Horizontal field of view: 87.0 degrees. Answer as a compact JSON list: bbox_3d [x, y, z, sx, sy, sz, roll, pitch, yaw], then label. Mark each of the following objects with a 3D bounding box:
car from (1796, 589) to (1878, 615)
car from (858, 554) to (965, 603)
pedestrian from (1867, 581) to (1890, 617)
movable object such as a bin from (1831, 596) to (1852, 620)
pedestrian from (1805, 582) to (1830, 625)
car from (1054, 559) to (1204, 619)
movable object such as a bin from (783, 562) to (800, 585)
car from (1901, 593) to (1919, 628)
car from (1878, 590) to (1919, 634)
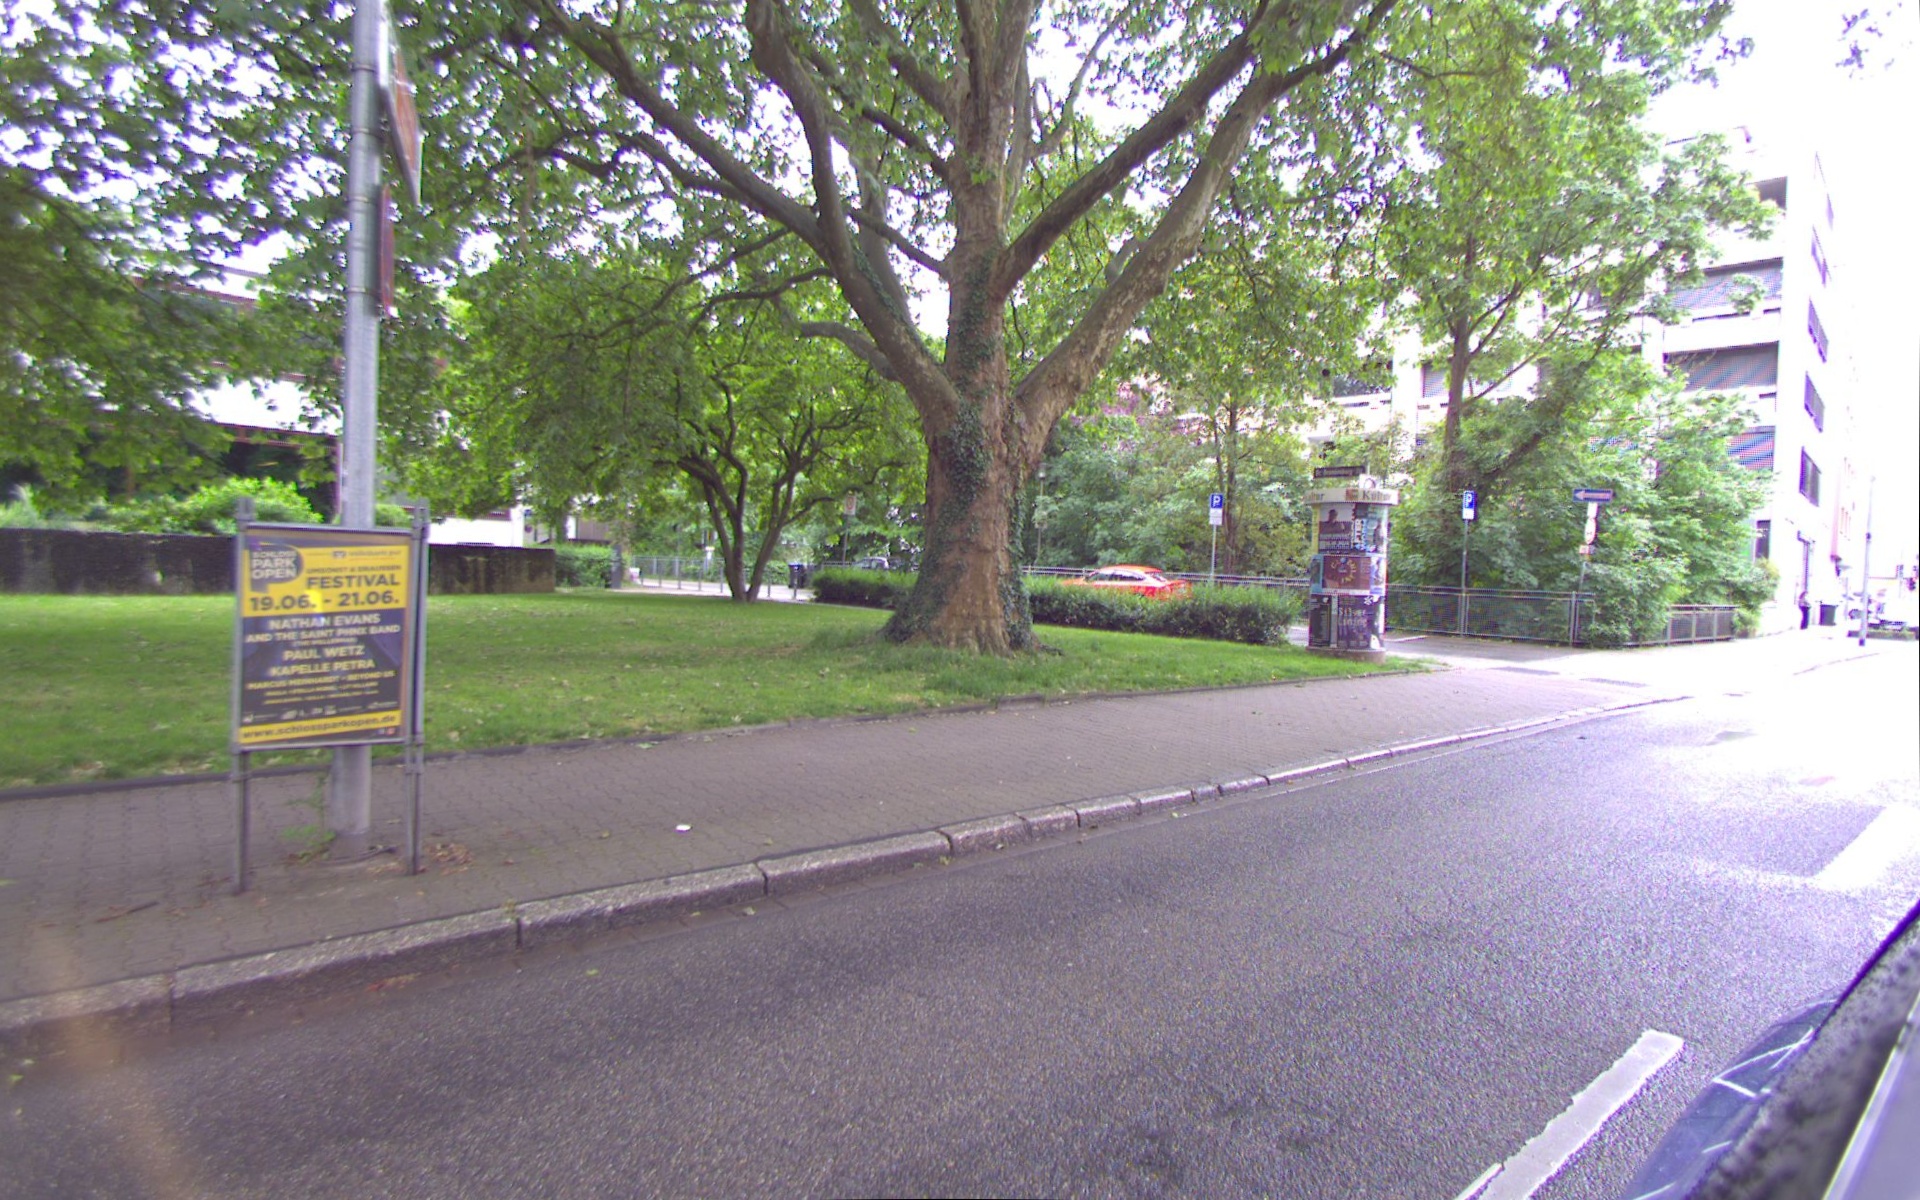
[{"bbox_3d":[62.134,0.135,71.765,1.770,1.604,4.155,0,3,-41],"label":"car"},{"bbox_3d":[-1.825,-0.814,37.086,1.707,1.590,3.925,0,3,-45],"label":"car"},{"bbox_3d":[56.475,-0.081,62.235,0.797,2.179,0.732,2,1,26],"label":"pedestrian"},{"bbox_3d":[42.131,0.391,48.372,0.505,1.117,0.680,0,2,-42],"label":"movable object such as a bin"},{"bbox_3d":[34.734,0.124,40.991,0.598,1.679,0.681,7,4,42],"label":"pedestrian"},{"bbox_3d":[4.905,-0.380,29.740,3.989,1.499,1.847,5,5,44],"label":"car"},{"bbox_3d":[-7.184,-1.118,43.157,0.573,0.986,0.512,0,0,-41],"label":"movable object such as a bin"},{"bbox_3d":[42.600,0.477,44.186,4.493,1.437,1.834,0,3,-43],"label":"car"},{"bbox_3d":[37.733,0.467,40.050,3.741,1.577,1.705,0,4,-43],"label":"car"}]
